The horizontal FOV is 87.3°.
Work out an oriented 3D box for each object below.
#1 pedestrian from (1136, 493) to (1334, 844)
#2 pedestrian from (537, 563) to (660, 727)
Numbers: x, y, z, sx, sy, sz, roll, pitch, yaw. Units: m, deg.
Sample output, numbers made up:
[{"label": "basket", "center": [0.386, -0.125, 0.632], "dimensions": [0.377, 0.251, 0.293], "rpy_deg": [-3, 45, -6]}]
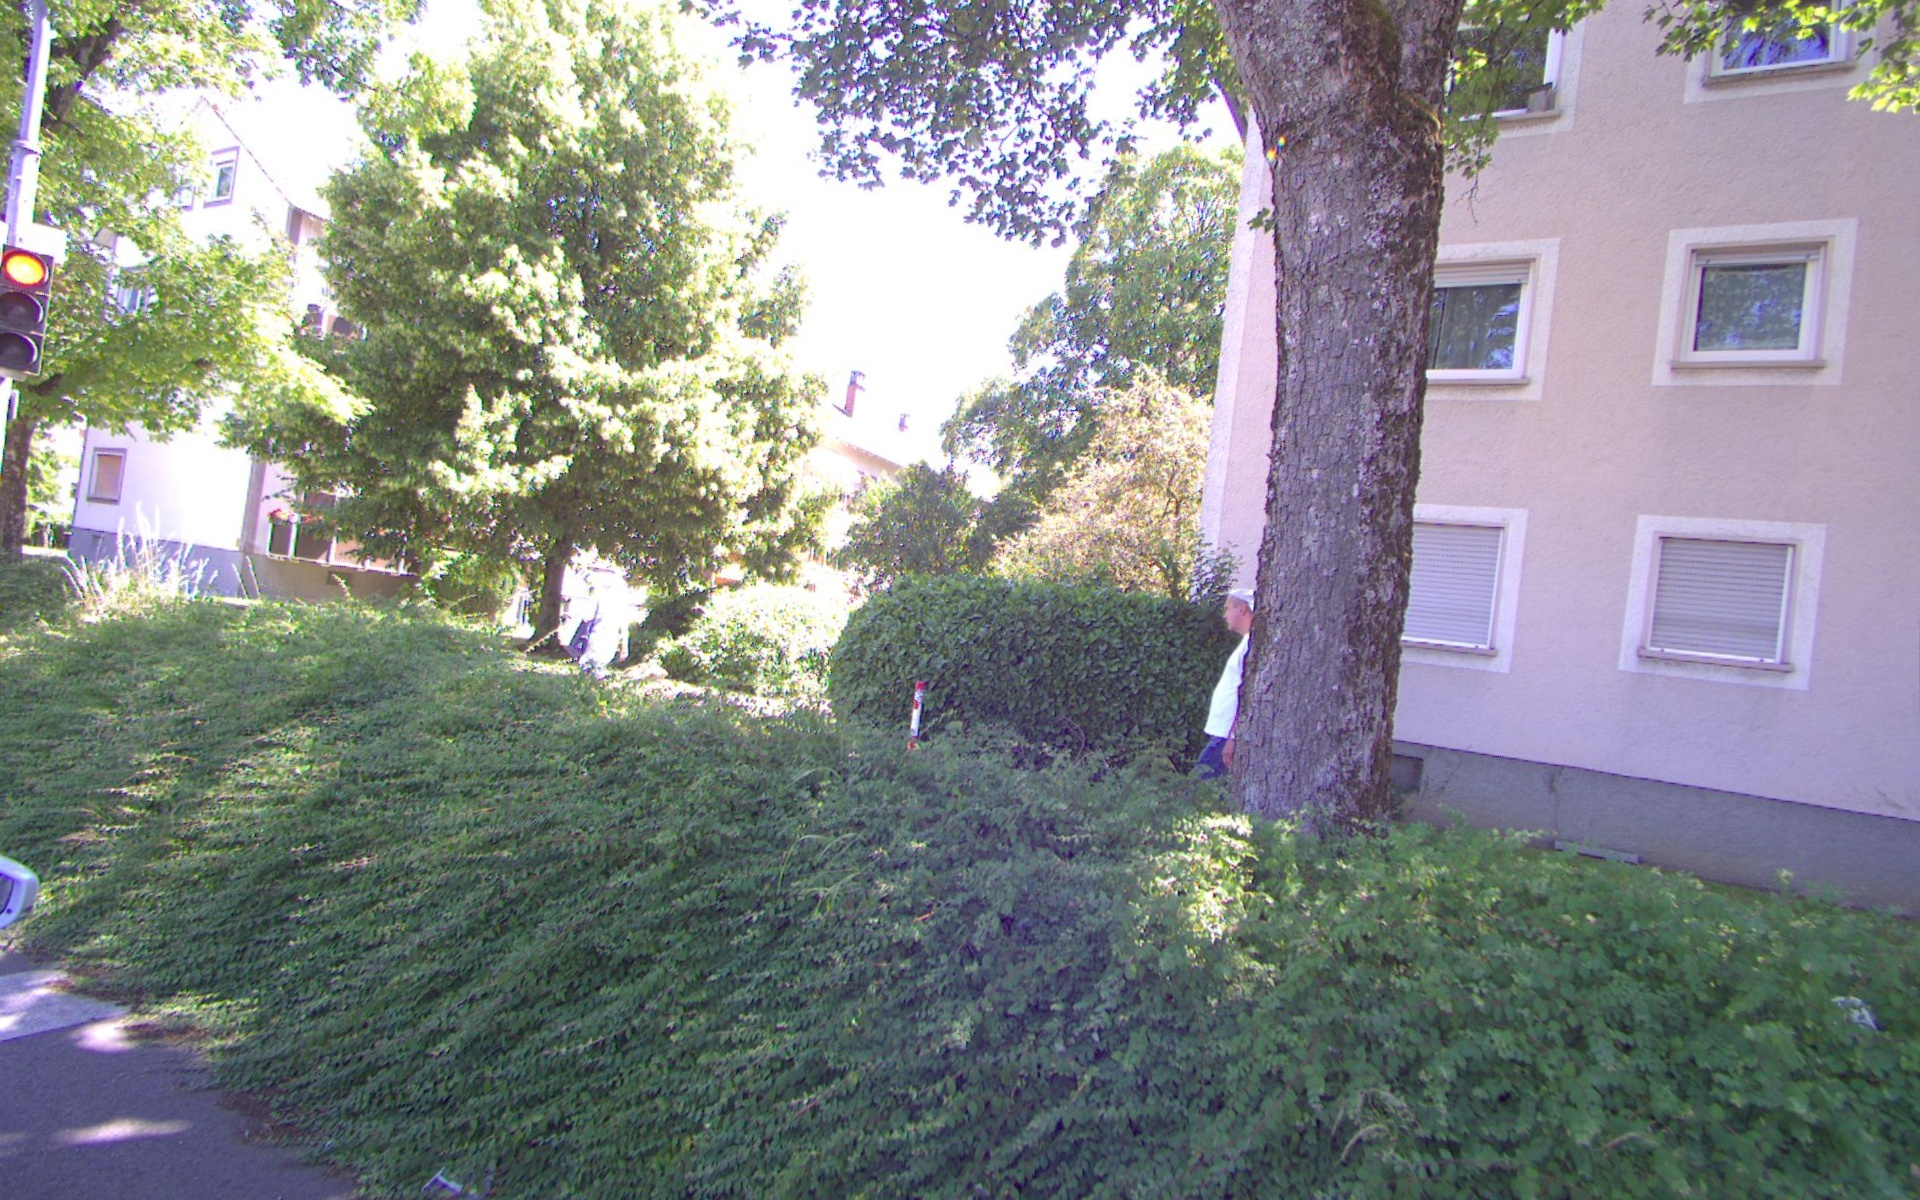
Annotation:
[{"label": "pedestrian", "center": [1.625, 0.401, 6.074], "dimensions": [0.886, 1.894, 0.675], "rpy_deg": [7, -3, 11]}, {"label": "pedestrian", "center": [-3.953, 0.491, 11.025], "dimensions": [0.836, 1.653, 0.720], "rpy_deg": [7, 0, 23]}]
